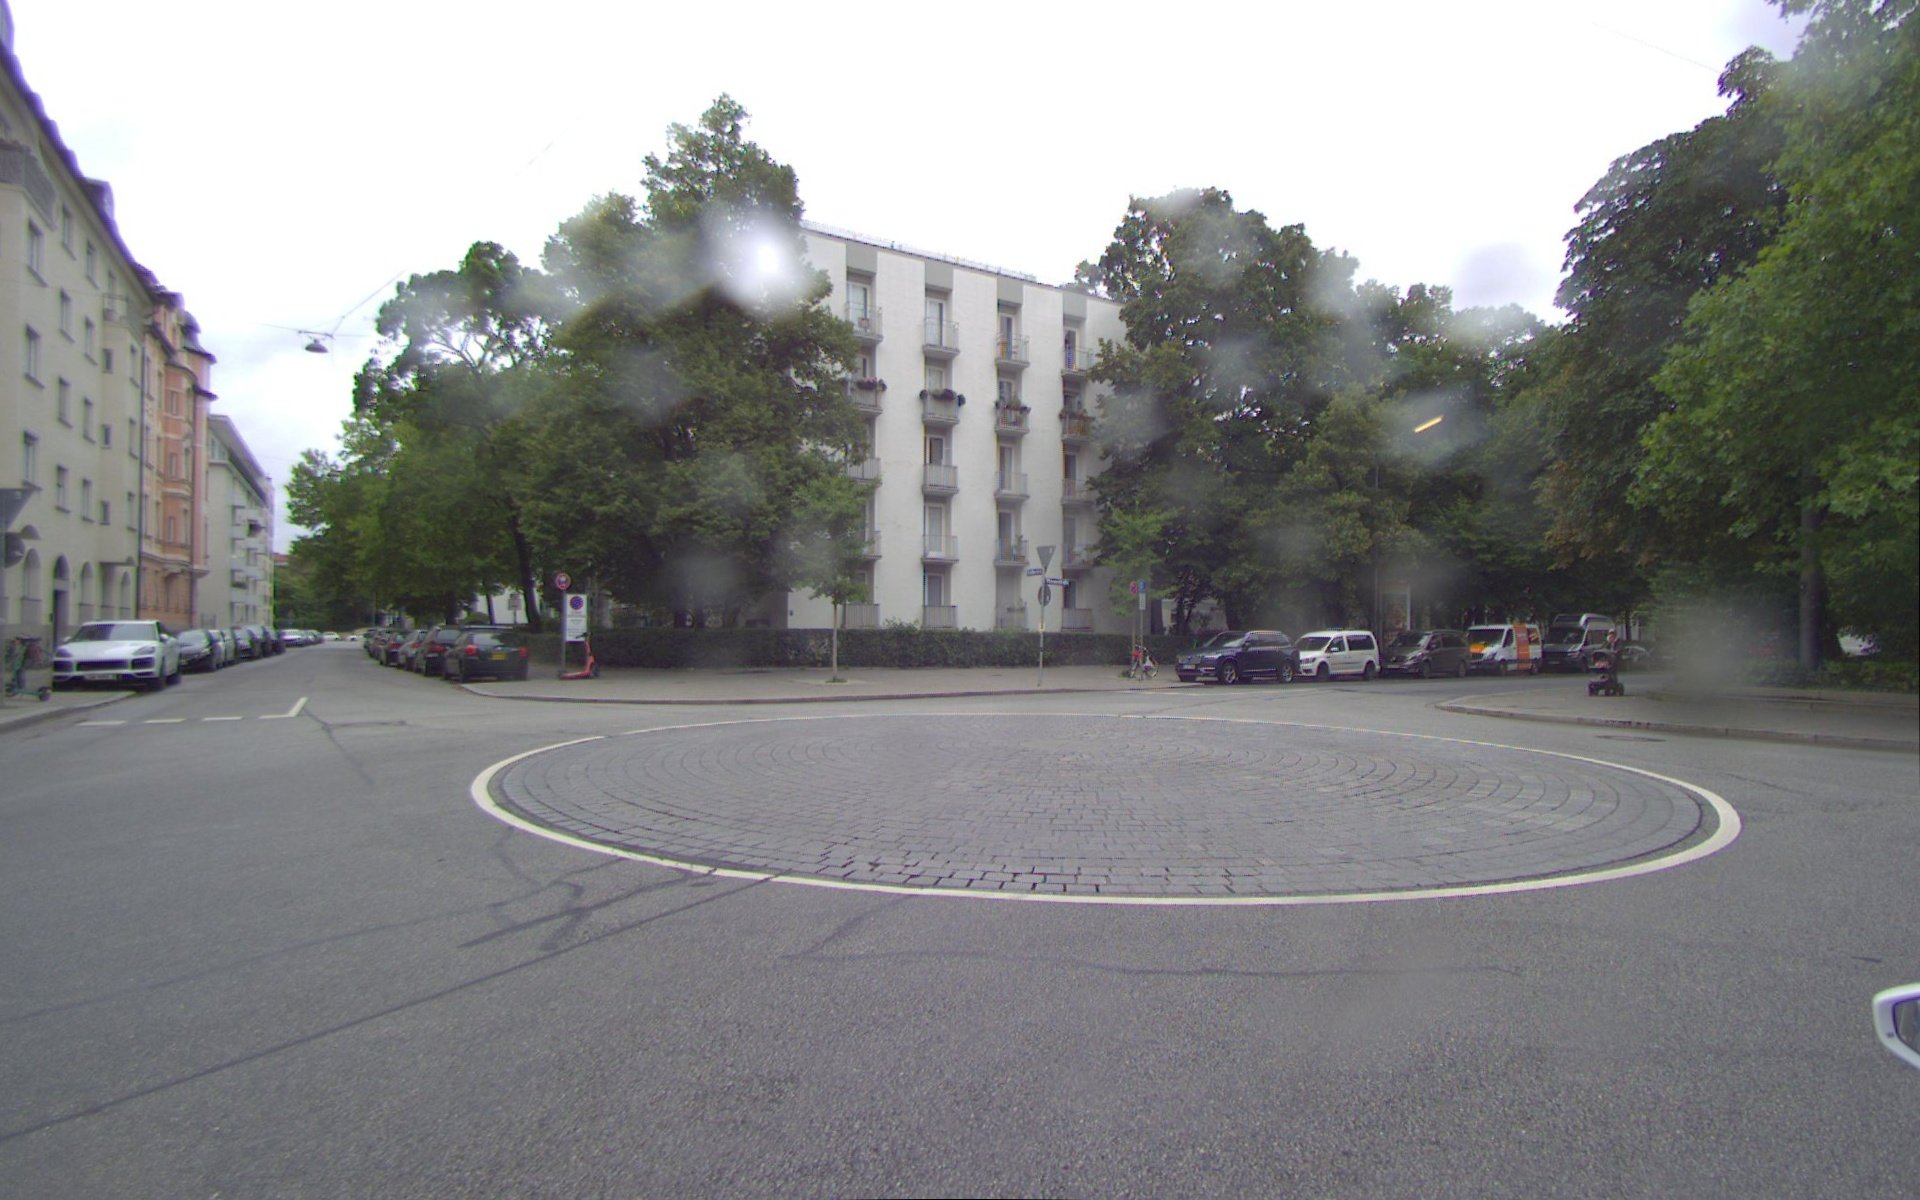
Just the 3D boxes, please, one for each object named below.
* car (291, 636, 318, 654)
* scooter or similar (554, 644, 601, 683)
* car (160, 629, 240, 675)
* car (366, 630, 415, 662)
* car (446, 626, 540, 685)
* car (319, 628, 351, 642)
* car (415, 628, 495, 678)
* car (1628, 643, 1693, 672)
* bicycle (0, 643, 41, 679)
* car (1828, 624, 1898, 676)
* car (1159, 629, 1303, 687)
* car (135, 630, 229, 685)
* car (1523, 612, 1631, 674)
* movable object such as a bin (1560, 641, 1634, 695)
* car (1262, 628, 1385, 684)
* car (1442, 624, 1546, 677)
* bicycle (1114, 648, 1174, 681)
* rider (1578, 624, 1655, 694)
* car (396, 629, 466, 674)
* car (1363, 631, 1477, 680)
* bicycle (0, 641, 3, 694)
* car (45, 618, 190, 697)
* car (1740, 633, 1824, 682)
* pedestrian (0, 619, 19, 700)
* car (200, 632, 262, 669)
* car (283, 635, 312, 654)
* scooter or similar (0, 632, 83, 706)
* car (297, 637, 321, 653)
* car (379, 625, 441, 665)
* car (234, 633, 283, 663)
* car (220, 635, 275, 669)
[{"bbox_3d":[-63.039,4.339,96.655,1.978,1.616,4.176,2,-2,-32],"label":"car"},{"bbox_3d":[-10.415,1.711,27.362,1.134,1.039,0.374,2,-2,-45],"label":"scooter or similar"},{"bbox_3d":[-28.376,1.911,37.628,1.978,1.616,4.176,2,-2,-32],"label":"car"},{"bbox_3d":[-28.660,2.295,50.517,1.759,1.538,3.996,2,-2,-35],"label":"car"},{"bbox_3d":[-13.393,1.540,28.679,1.759,1.538,3.996,2,-2,-35],"label":"car"},{"bbox_3d":[-94.809,5.319,152.445,3.953,2.040,1.984,1,-2,-30],"label":"car"},{"bbox_3d":[-16.553,1.688,32.814,1.759,1.538,3.996,2,-2,-35],"label":"car"},{"bbox_3d":[40.052,3.265,57.390,4.036,1.558,1.882,2,-2,-37],"label":"car"},{"bbox_3d":[-29.295,1.876,31.259,0.617,1.060,2.197,1,-2,-32],"label":"bicycle"},{"bbox_3d":[46.552,2.554,51.767,5.206,2.592,2.024,2,-2,-41],"label":"car"},{"bbox_3d":[9.055,1.880,33.373,4.859,1.790,2.051,2,-2,-36],"label":"car"},{"bbox_3d":[-25.807,1.868,33.458,1.978,1.714,4.176,2,-2,-32],"label":"car"},{"bbox_3d":[31.326,2.158,50.911,6.515,2.960,2.319,2,-2,-36],"label":"car"},{"bbox_3d":[15.610,1.659,24.628,1.071,1.283,1.076,1,-4,-23],"label":"movable object such as a bin"},{"bbox_3d":[13.322,2.020,36.671,4.822,1.919,1.912,2,-2,-37],"label":"car"},{"bbox_3d":[24.082,2.250,45.212,5.144,2.280,2.097,2,-2,-36],"label":"car"},{"bbox_3d":[6.305,2.199,34.352,1.951,1.065,0.905,2,-2,-35],"label":"bicycle"},{"bbox_3d":[16.286,1.474,24.934,1.123,1.689,1.080,1,-4,-23],"label":"rider"},{"bbox_3d":[-19.320,1.849,36.589,1.759,1.538,3.996,2,-2,-35],"label":"car"},{"bbox_3d":[18.608,2.211,40.579,4.938,1.883,2.051,2,-2,-36],"label":"car"},{"bbox_3d":[-20.903,1.457,21.285,0.544,1.165,1.829,1,-2,-33],"label":"bicycle"},{"bbox_3d":[-20.361,1.342,24.494,1.978,1.714,4.769,2,-2,-32],"label":"car"},{"bbox_3d":[34.374,2.363,41.955,4.412,1.947,2.023,2,-3,-41],"label":"car"},{"bbox_3d":[-22.478,1.352,22.969,1.119,1.828,1.261,1,-2,-31],"label":"pedestrian"},{"bbox_3d":[-33.553,2.286,46.350,1.978,1.616,4.176,2,-2,-32],"label":"car"},{"bbox_3d":[-58.255,3.891,88.339,1.978,1.616,4.176,2,-2,-32],"label":"car"},{"bbox_3d":[-18.319,1.352,19.907,1.328,1.413,0.709,0,-2,9],"label":"scooter or similar"},{"bbox_3d":[-67.851,4.653,104.761,1.978,1.616,4.176,2,-2,-32],"label":"car"},{"bbox_3d":[-22.519,1.827,41.067,1.759,1.538,3.996,2,-2,-35],"label":"car"},{"bbox_3d":[-39.232,2.656,56.281,1.978,1.616,4.176,2,-2,-32],"label":"car"},{"bbox_3d":[-36.341,2.615,51.293,1.978,1.616,4.176,2,-2,-32],"label":"car"}]
